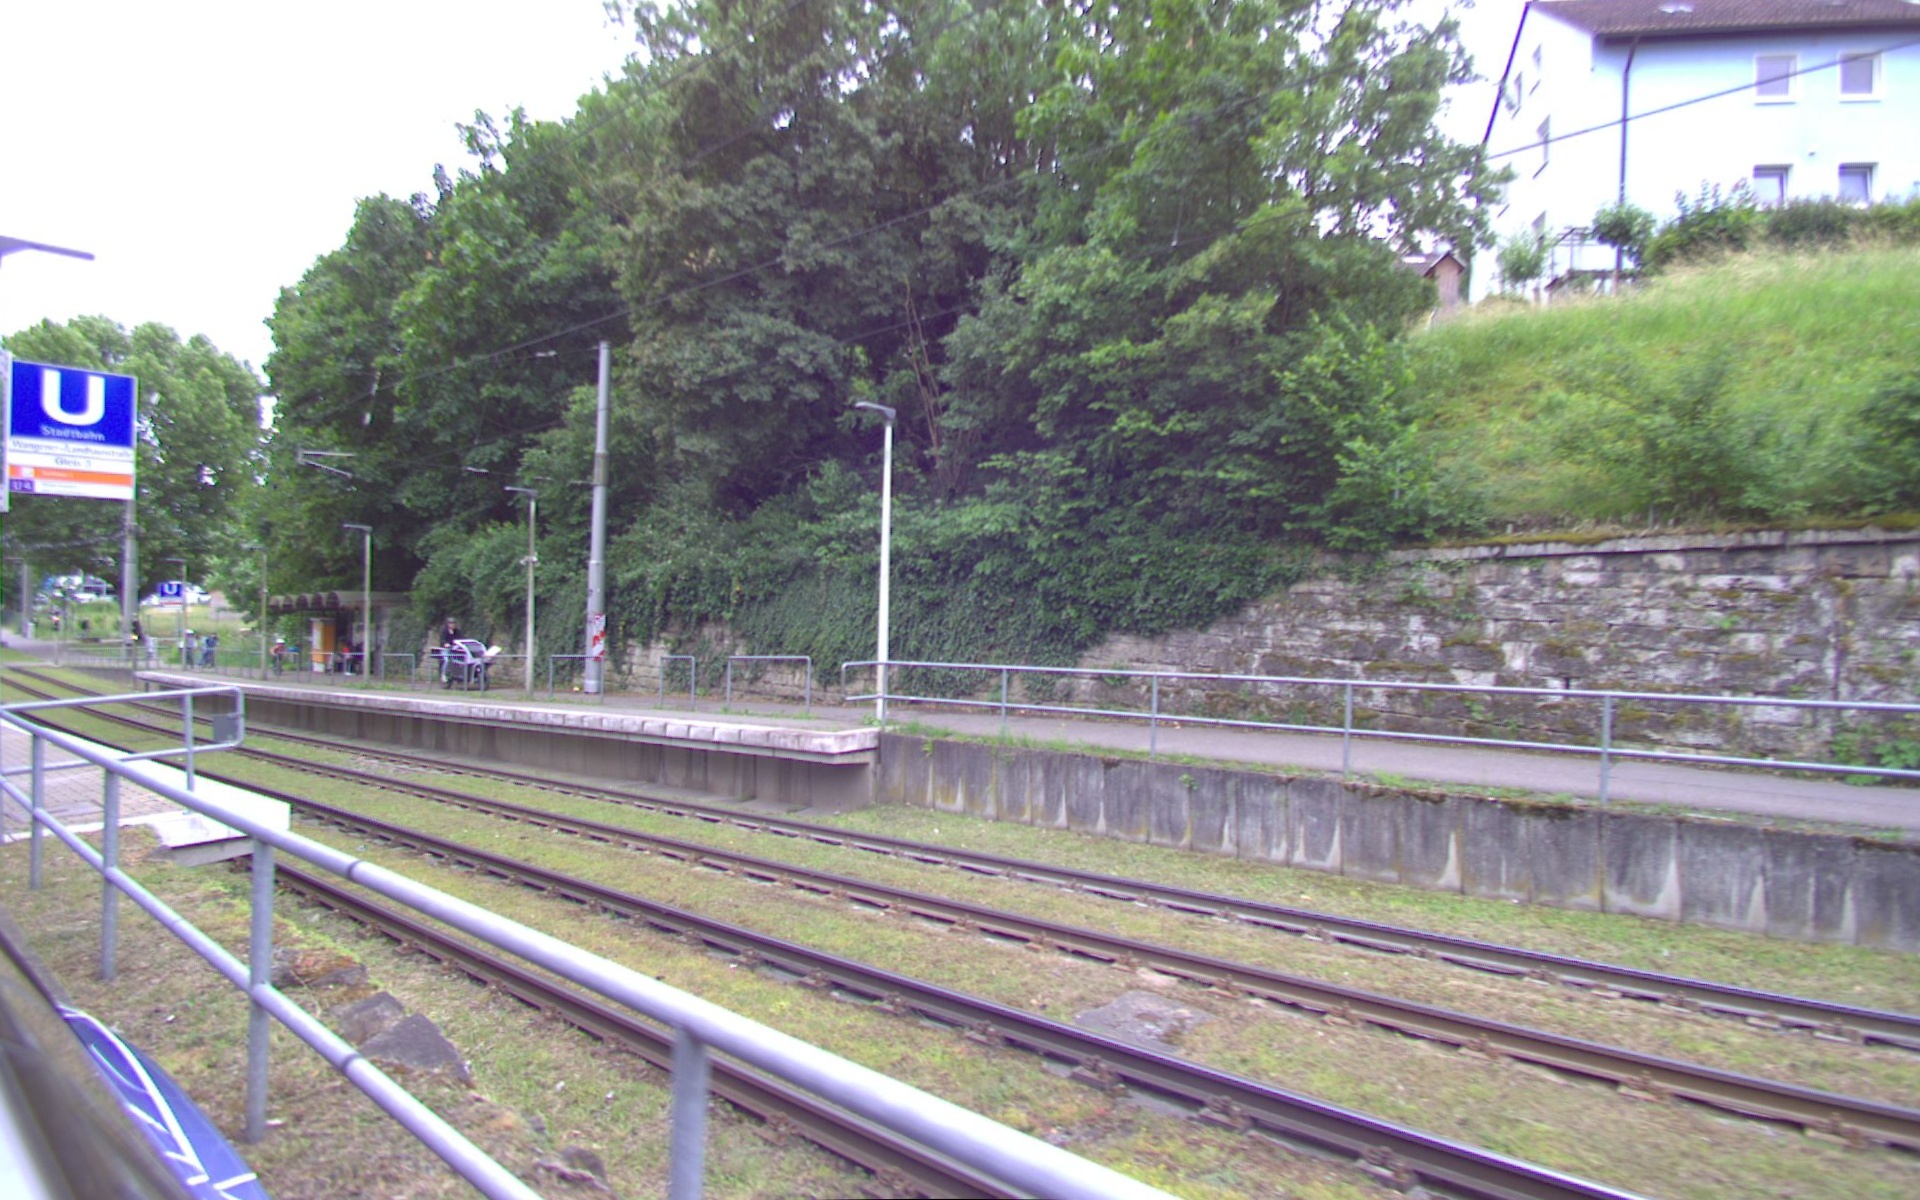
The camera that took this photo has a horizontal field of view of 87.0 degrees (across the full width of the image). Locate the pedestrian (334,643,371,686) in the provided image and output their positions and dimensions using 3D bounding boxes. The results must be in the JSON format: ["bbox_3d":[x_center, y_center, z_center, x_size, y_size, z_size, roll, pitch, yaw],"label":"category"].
[{"bbox_3d":[-20.587,2.184,34.298,0.772,1.385,0.813,-1,0,35],"label":"pedestrian"}]

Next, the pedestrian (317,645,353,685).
[{"bbox_3d":[-21.598,2.236,34.977,0.772,1.333,0.813,-1,0,35],"label":"pedestrian"}]

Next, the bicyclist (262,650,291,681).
[{"bbox_3d":[-24.029,2.288,35.574,0.744,1.061,0.682,-3,-2,41],"label":"bicyclist"}]

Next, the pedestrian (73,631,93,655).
[{"bbox_3d":[-65.193,3.191,75.221,1.100,1.747,0.695,0,-1,-38],"label":"pedestrian"}]

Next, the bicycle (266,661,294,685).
[{"bbox_3d":[-23.813,2.544,35.438,1.564,0.787,0.445,-3,-2,41],"label":"bicycle"}]

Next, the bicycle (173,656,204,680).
[{"bbox_3d":[-31.199,2.763,40.937,1.840,0.932,0.473,-4,-2,36],"label":"bicycle"}]

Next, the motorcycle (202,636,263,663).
[{"bbox_3d":[-45.884,3.089,63.865,1.247,1.564,3.046,-1,0,13],"label":"motorcycle"}]

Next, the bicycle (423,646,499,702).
[{"bbox_3d":[-12.208,1.772,24.698,2.867,1.249,0.742,-3,-1,45],"label":"bicycle"}]

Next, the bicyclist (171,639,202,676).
[{"bbox_3d":[-31.243,2.318,40.878,0.905,1.442,0.738,-4,-2,35],"label":"bicyclist"}]

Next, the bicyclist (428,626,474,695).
[{"bbox_3d":[-12.639,1.481,25.119,1.033,1.641,0.696,-3,-1,44],"label":"bicyclist"}]

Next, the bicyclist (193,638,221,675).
[{"bbox_3d":[-30.813,2.310,41.423,0.839,1.454,0.722,-3,-2,39],"label":"bicyclist"}]

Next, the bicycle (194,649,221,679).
[{"bbox_3d":[-30.767,2.627,41.370,1.939,1.197,0.458,-3,-2,41],"label":"bicycle"}]
